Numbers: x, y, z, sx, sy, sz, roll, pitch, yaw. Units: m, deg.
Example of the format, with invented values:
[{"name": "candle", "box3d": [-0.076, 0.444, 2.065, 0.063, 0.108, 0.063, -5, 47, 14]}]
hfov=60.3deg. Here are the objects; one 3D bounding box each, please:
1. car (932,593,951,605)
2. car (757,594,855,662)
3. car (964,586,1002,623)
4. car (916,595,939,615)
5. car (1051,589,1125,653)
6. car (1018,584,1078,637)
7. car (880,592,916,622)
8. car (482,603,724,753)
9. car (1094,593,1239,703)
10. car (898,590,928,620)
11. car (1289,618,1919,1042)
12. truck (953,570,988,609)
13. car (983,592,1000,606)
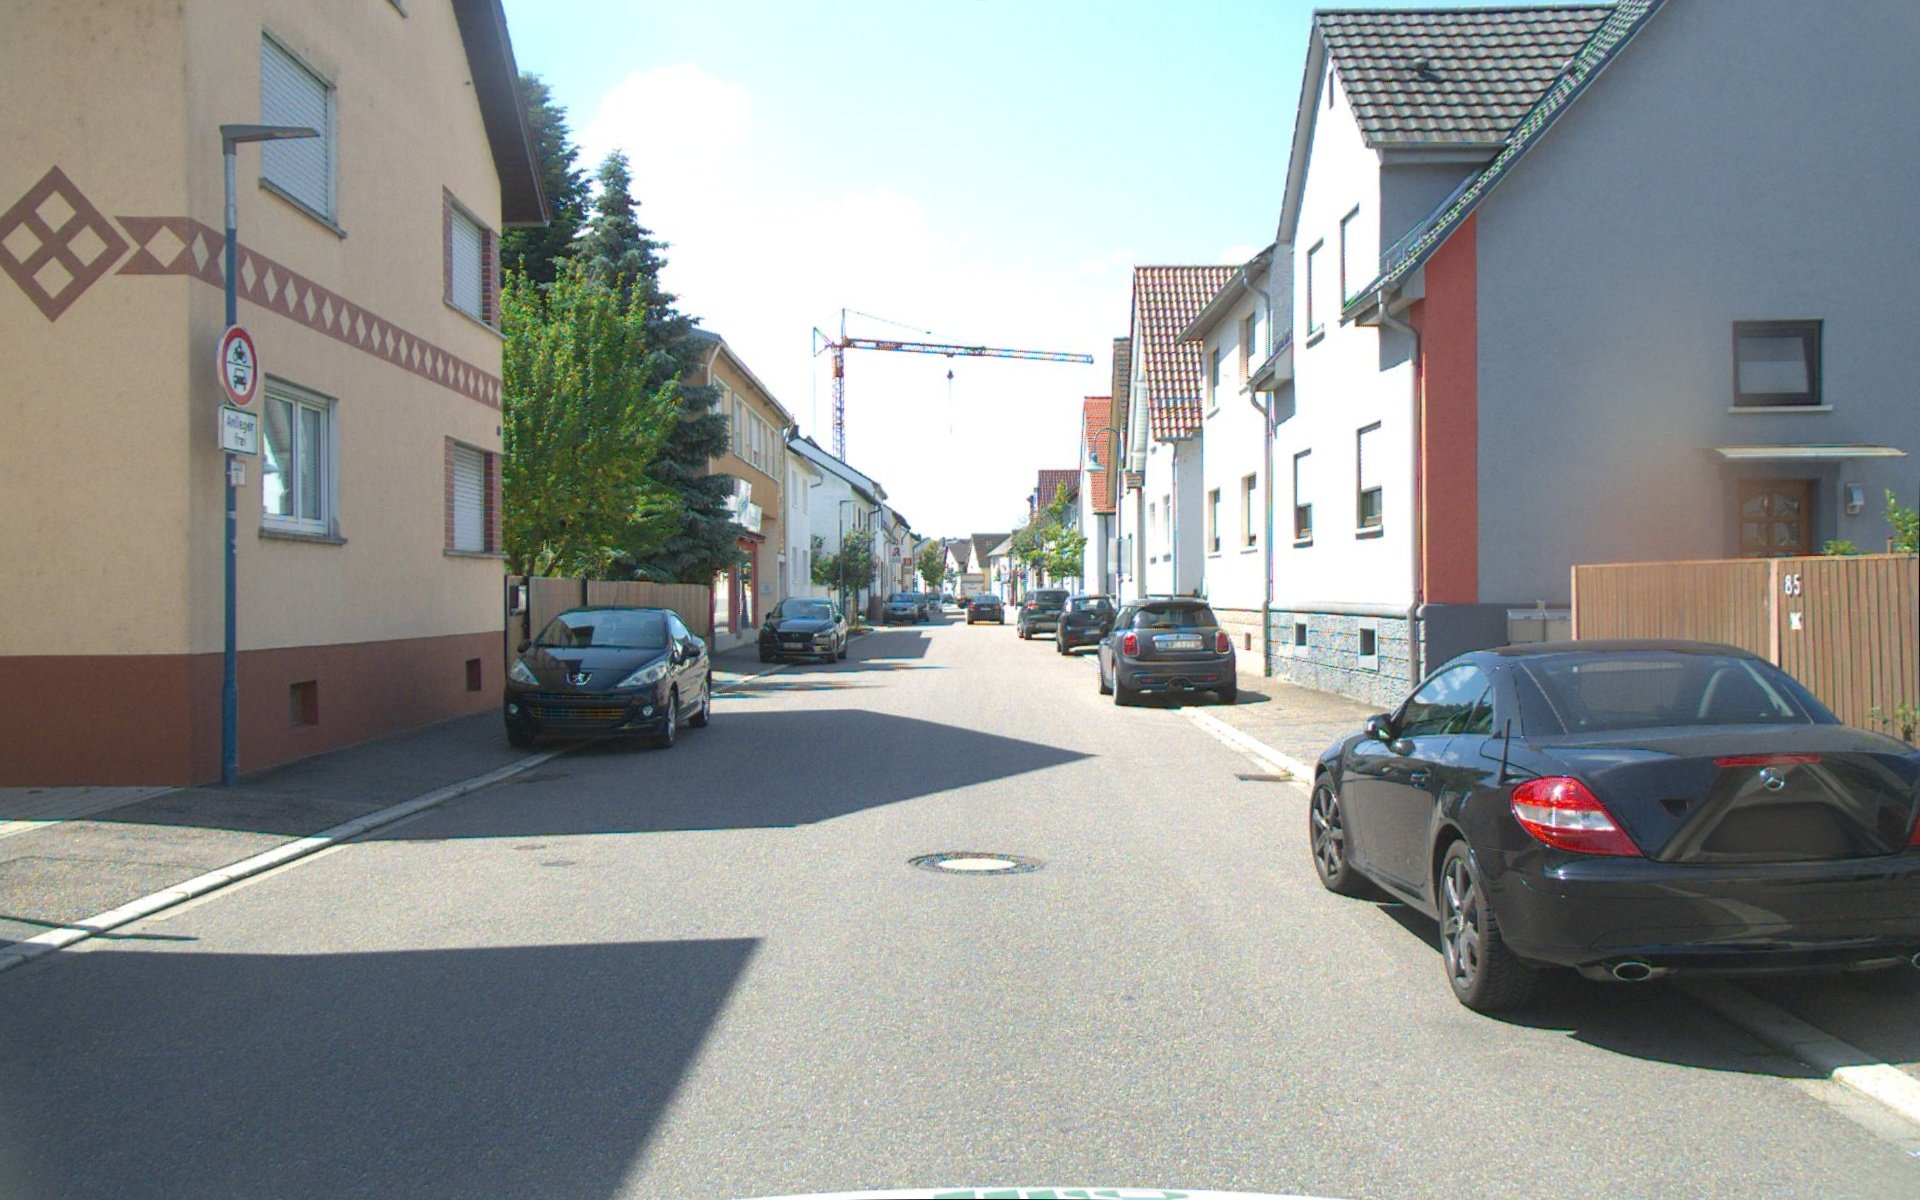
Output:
[{"name": "car", "box3d": [-2.808, -0.167, 250.722, 1.791, 1.784, 4.211, -1, 0, -15]}, {"name": "car", "box3d": [-3.563, 0.610, 38.905, 1.731, 1.485, 4.437, 0, 0, 2]}, {"name": "car", "box3d": [1.135, 0.213, 83.155, 1.746, 1.784, 3.999, -1, 0, -1]}, {"name": "car", "box3d": [-2.596, 0.419, 134.188, 1.687, 1.583, 4.172, 1, 0, 1]}, {"name": "car", "box3d": [3.327, 0.525, 43.588, 1.584, 1.522, 3.971, -3, 0, 0]}, {"name": "car", "box3d": [2.950, 0.334, 56.319, 1.694, 1.747, 4.274, -1, 0, -2]}, {"name": "car", "box3d": [-3.294, 0.362, 88.160, 1.722, 1.551, 4.289, -1, 0, 0]}, {"name": "car", "box3d": [-3.723, 0.756, 17.944, 1.725, 1.398, 4.066, 1, 0, 0]}, {"name": "car", "box3d": [2.911, 0.640, 24.002, 1.654, 1.447, 3.657, -1, 0, 0]}, {"name": "car", "box3d": [-2.679, 0.279, 94.912, 1.619, 1.637, 4.061, -1, 0, 0]}, {"name": "car", "box3d": [2.749, 0.765, 7.416, 1.778, 1.298, 4.147, 0, 0, 1]}, {"name": "truck", "box3d": [1.068, -1.080, 178.441, 3.310, 3.933, 13.922, -1, 0, -1]}, {"name": "car", "box3d": [3.711, -0.159, 194.208, 1.747, 1.591, 4.335, -1, 0, -2]}]
